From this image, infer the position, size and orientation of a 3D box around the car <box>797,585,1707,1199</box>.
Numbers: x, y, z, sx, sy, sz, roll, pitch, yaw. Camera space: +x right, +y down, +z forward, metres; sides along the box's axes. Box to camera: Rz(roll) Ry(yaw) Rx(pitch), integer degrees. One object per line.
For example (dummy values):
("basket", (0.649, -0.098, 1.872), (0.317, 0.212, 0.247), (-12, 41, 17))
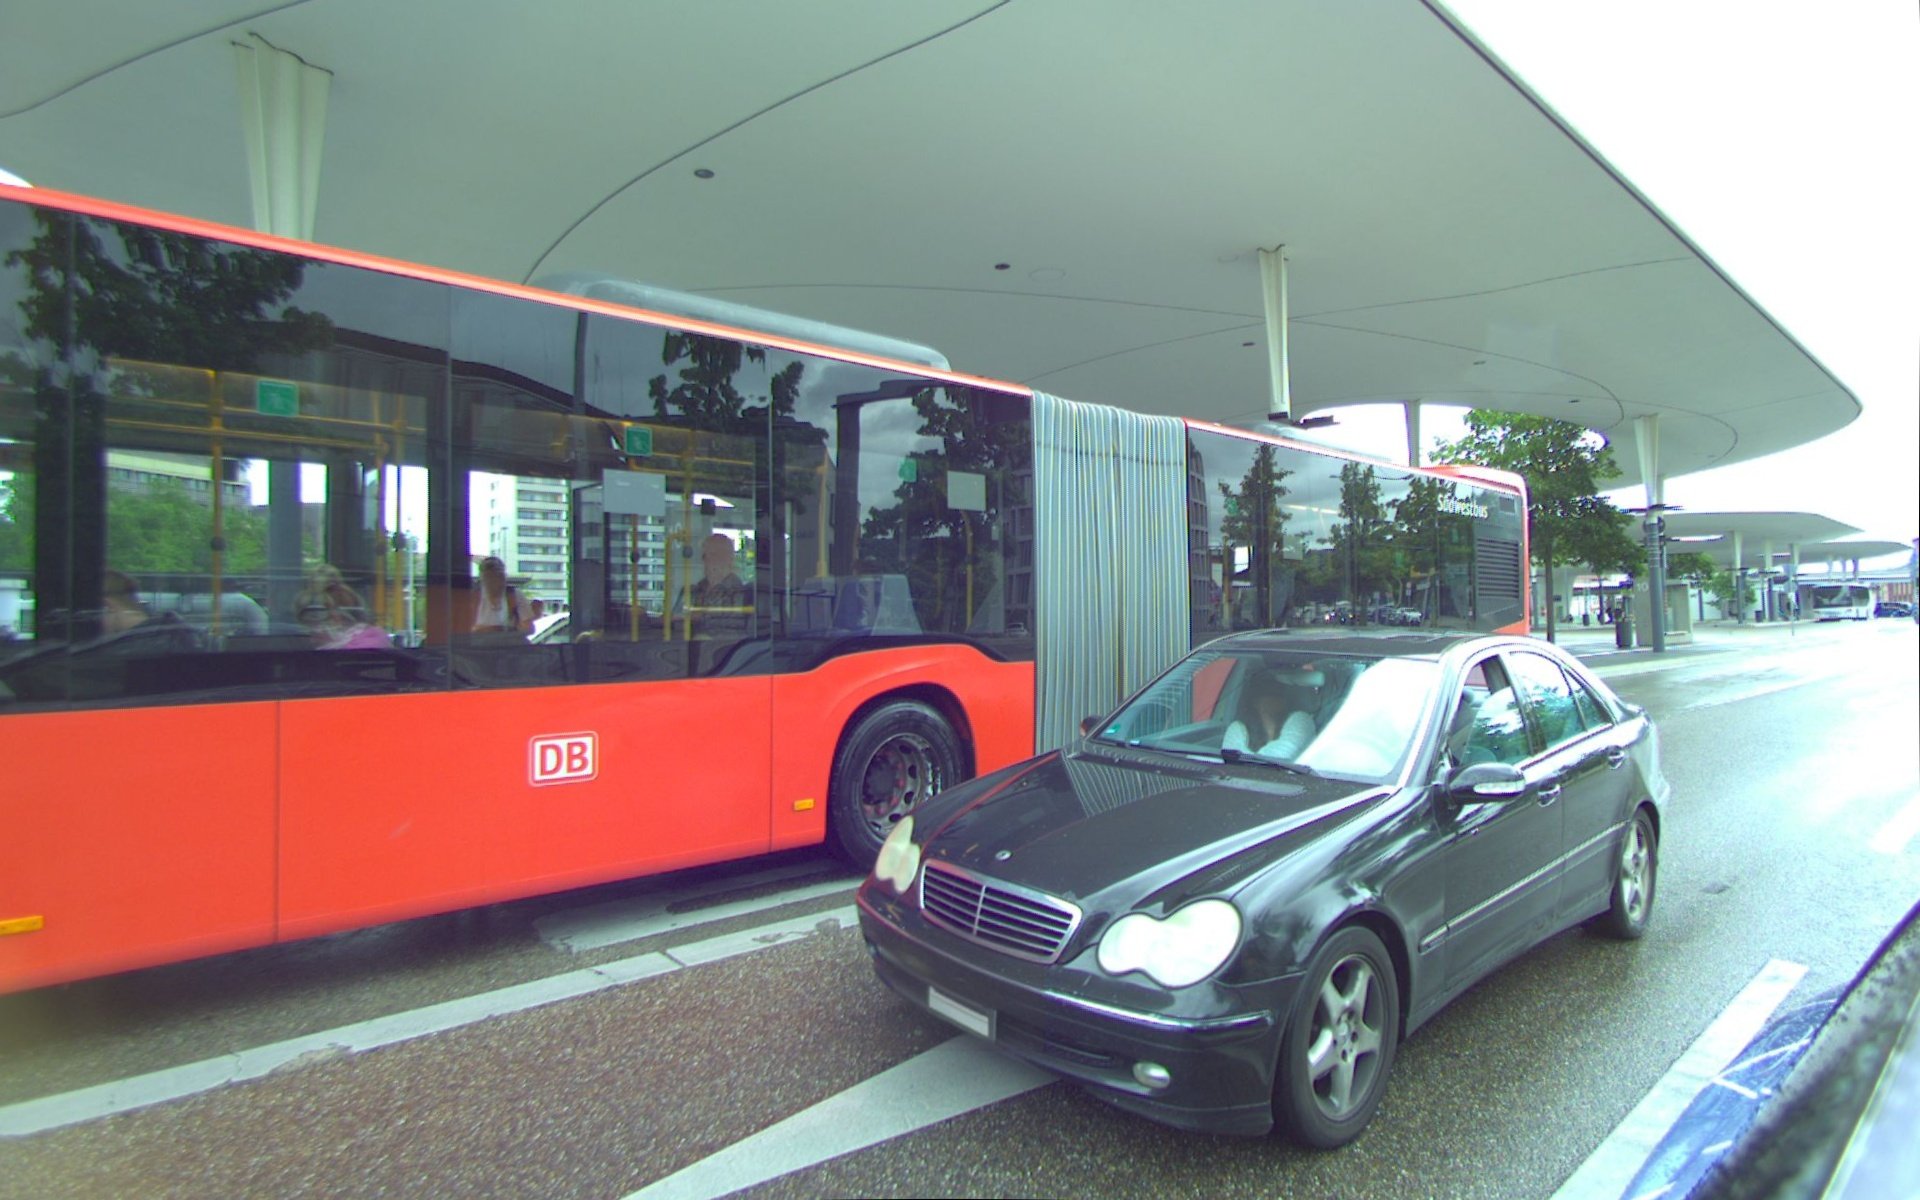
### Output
("car", (1.626, 0.724, 4.366), (4.360, 1.499, 1.747), (-1, -1, -43))

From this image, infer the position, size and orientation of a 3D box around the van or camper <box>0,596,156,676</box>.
("van or camper", (-30.008, 1.120, 33.002), (5.867, 2.495, 2.106), (0, -1, -41))

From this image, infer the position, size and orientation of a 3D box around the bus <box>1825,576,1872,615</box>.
("bus", (75.128, -0.336, 85.521), (2.666, 3.169, 9.565), (-1, -1, 43))

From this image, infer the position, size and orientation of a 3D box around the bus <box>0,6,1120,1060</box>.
("bus", (-3.633, -0.205, 4.290), (10.016, 3.214, 2.747), (0, -1, -41))

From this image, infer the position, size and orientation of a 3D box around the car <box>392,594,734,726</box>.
("car", (-5.735, 0.782, 14.918), (4.355, 1.670, 1.803), (0, -2, -41))

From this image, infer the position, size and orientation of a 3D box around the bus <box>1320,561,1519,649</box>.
("bus", (20.104, 0.259, 43.696), (12.143, 3.148, 2.997), (0, -7, -42))

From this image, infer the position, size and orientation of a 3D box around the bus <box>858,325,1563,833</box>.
("bus", (3.034, -0.136, 10.081), (7.978, 3.214, 2.747), (0, -1, -41))
